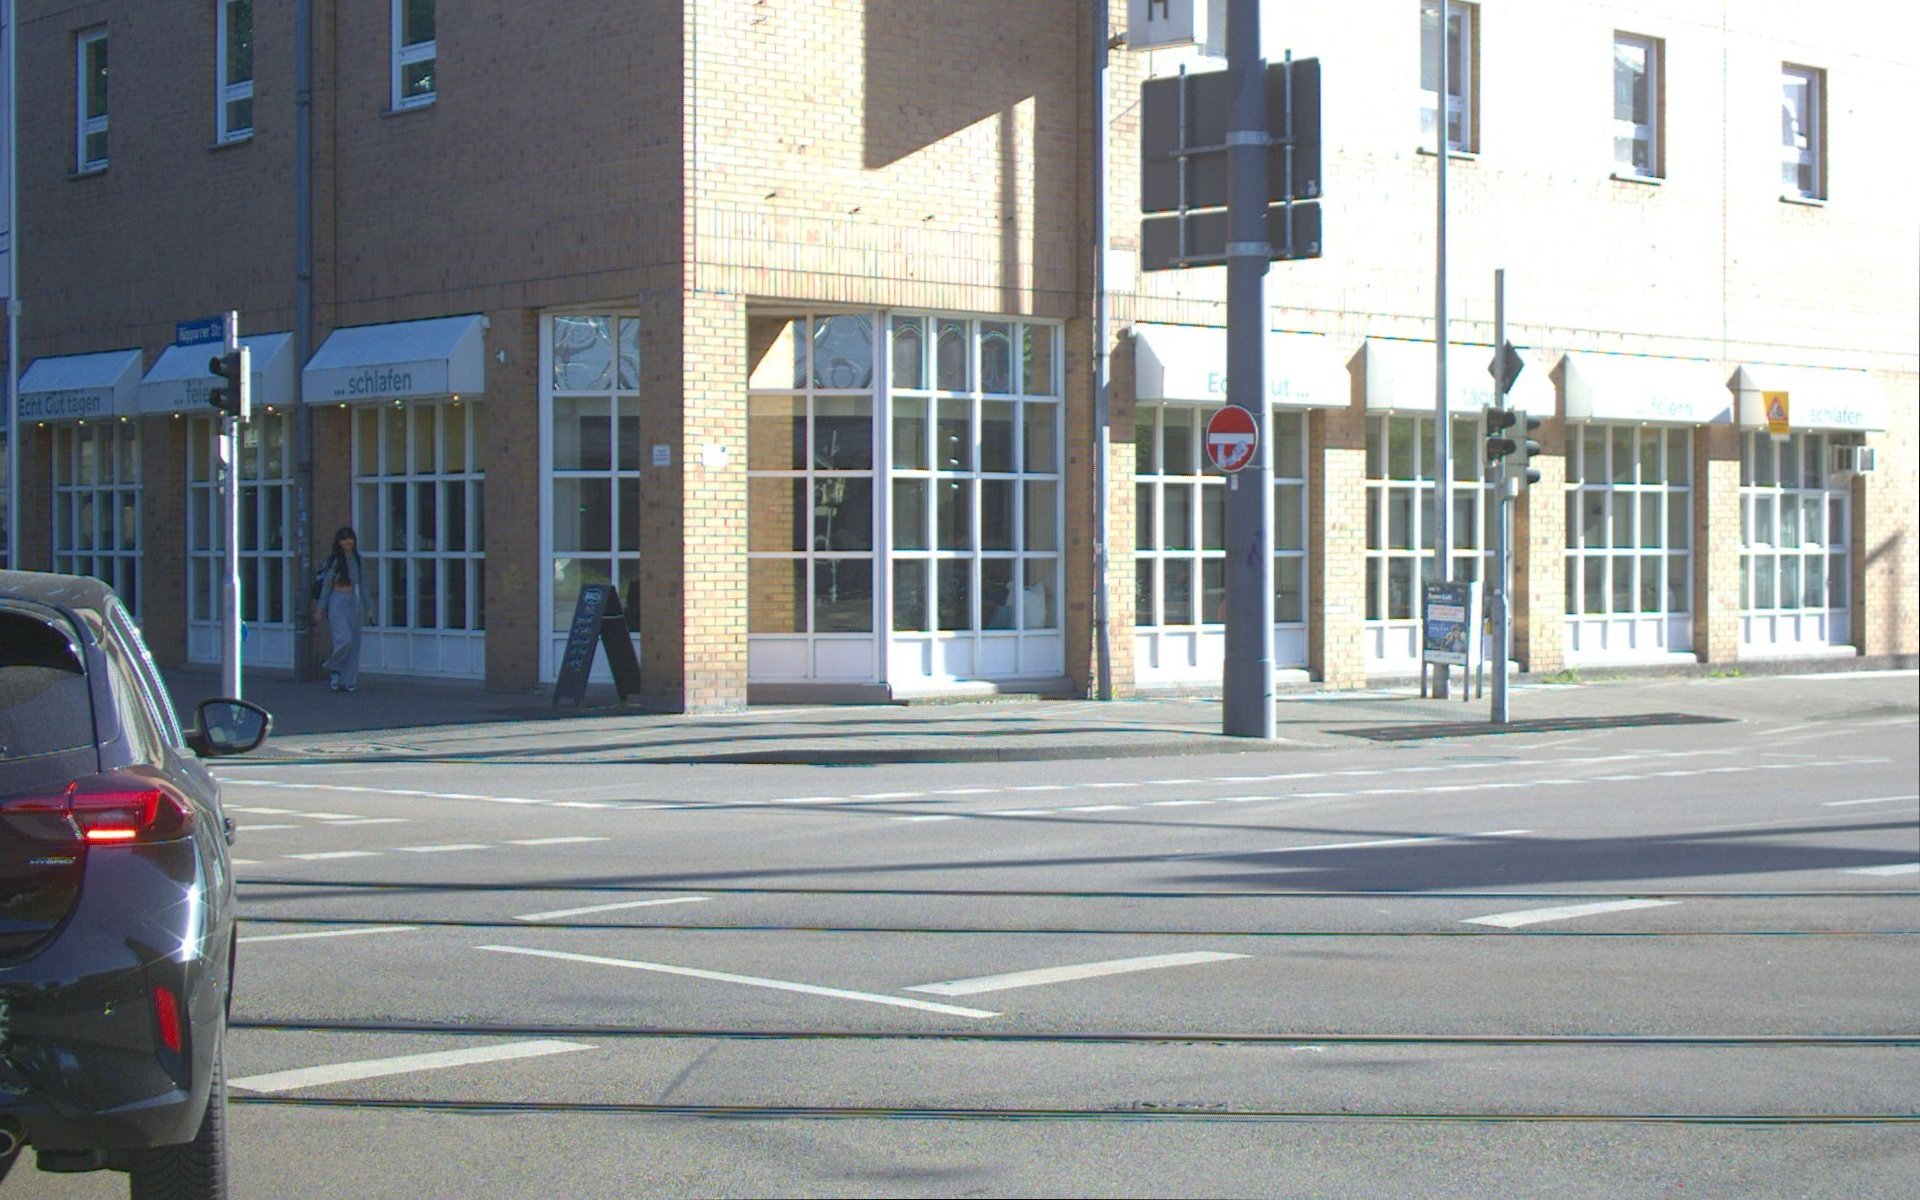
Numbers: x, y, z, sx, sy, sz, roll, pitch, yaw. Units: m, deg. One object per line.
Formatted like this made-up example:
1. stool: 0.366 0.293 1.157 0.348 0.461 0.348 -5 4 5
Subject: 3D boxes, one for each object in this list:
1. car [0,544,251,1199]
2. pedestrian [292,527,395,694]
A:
1. car: -2.637 0.789 8.405 1.671 1.497 3.690 -1 -4 -13
2. pedestrian: -6.250 0.097 34.866 0.739 1.660 0.753 -2 2 -38
